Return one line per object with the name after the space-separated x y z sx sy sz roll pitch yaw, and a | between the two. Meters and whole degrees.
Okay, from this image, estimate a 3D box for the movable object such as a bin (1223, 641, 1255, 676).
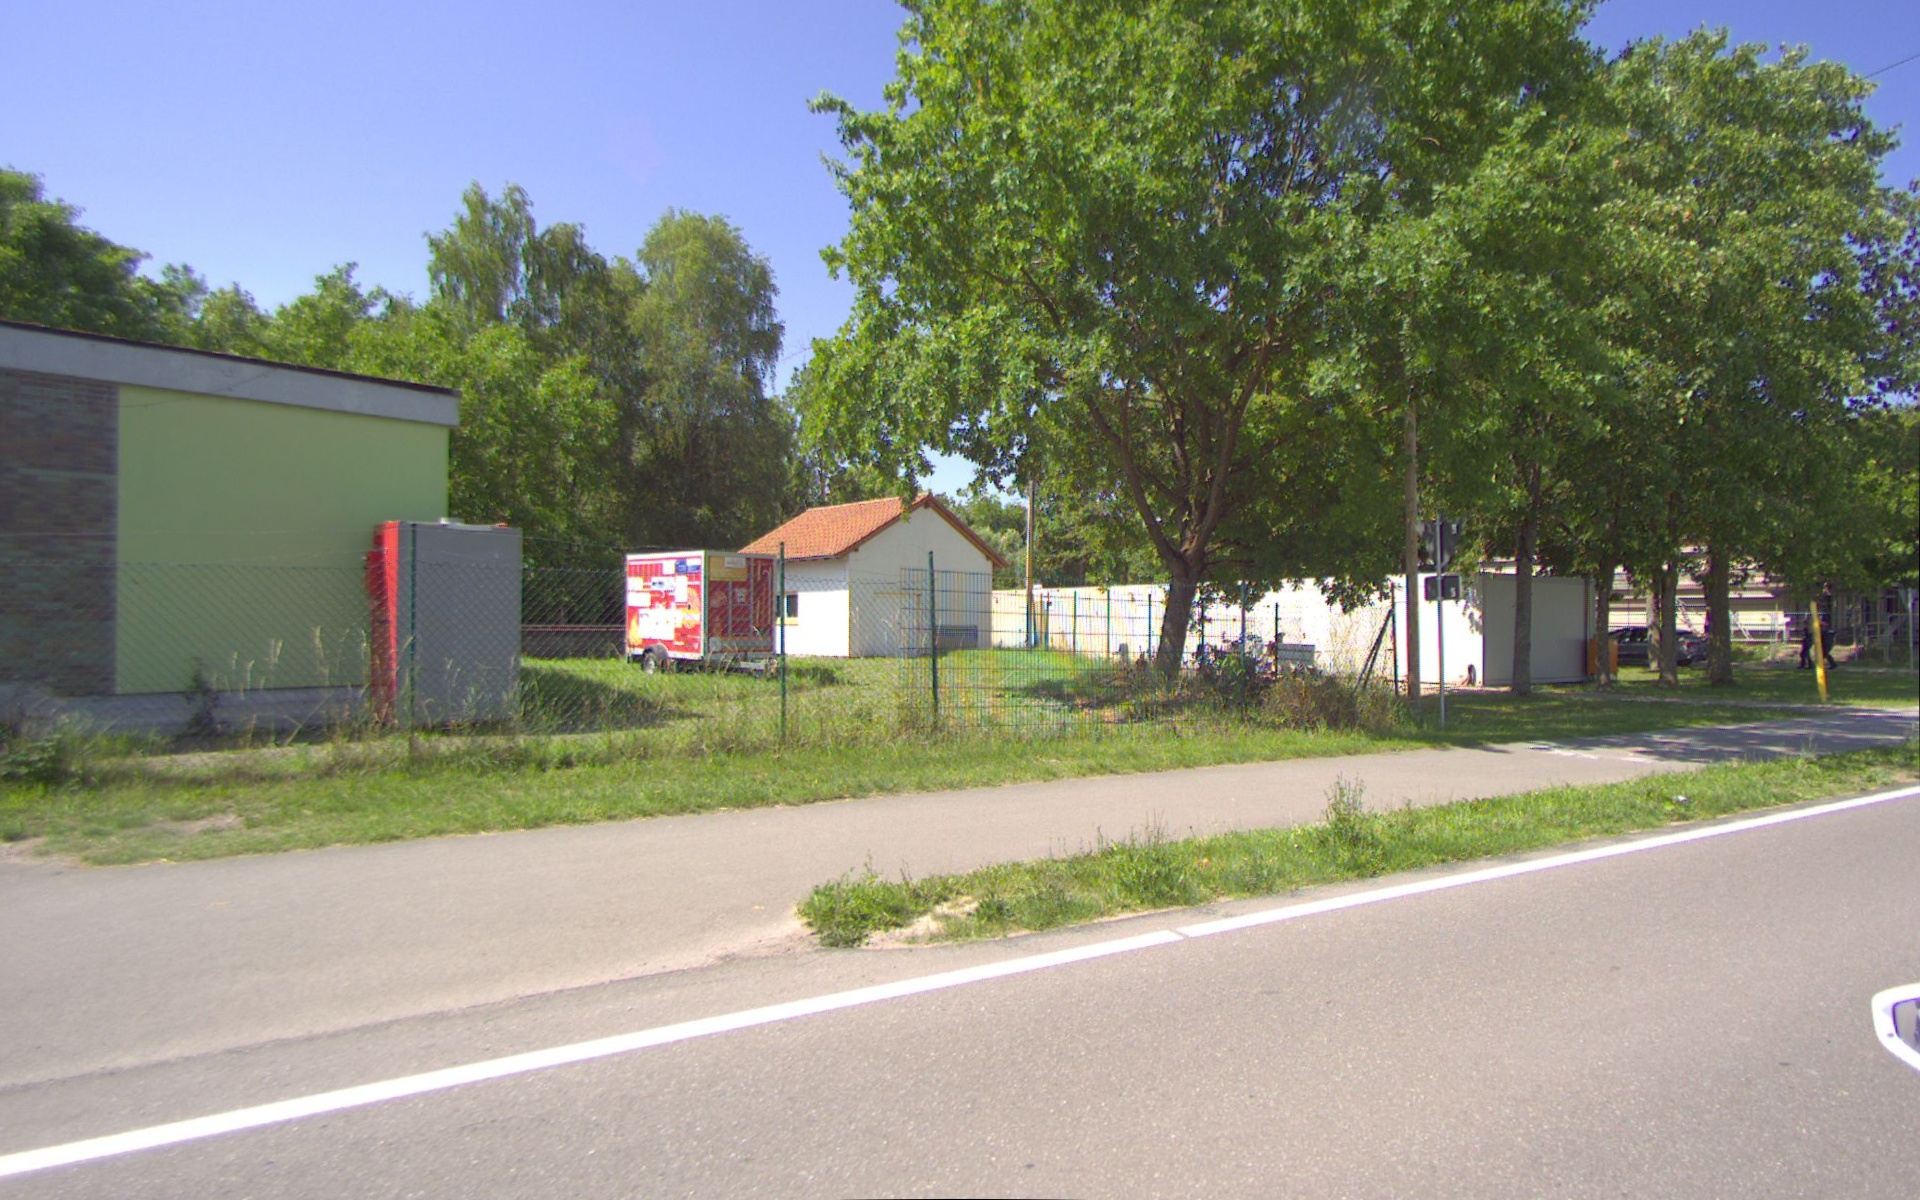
8.617 1.800 31.016 0.657 1.027 0.690 1 -2 -33 | movable object such as a bin

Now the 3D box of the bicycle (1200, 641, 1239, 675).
8.425 1.875 32.674 0.500 1.096 1.234 1 -2 -31 | bicycle

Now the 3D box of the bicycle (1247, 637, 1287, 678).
9.577 1.776 31.347 0.419 1.229 1.233 1 -2 -32 | bicycle

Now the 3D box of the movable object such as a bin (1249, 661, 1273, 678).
9.000 2.080 30.049 0.294 0.468 0.664 1 -2 -34 | movable object such as a bin

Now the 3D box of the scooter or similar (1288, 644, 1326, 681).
9.730 1.738 28.171 0.529 1.010 0.888 1 -2 -35 | scooter or similar

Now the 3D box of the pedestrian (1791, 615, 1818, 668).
28.912 1.420 34.389 0.582 1.774 0.598 1 -1 -39 | pedestrian

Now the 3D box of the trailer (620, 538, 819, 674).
-4.694 0.155 19.229 1.817 2.307 4.181 1 -2 -45 | trailer

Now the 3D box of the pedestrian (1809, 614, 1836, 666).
29.639 1.369 34.508 0.582 1.774 0.598 1 -1 -39 | pedestrian

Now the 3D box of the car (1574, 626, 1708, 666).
25.124 1.665 37.174 1.742 1.417 3.773 1 -2 -36 | car
